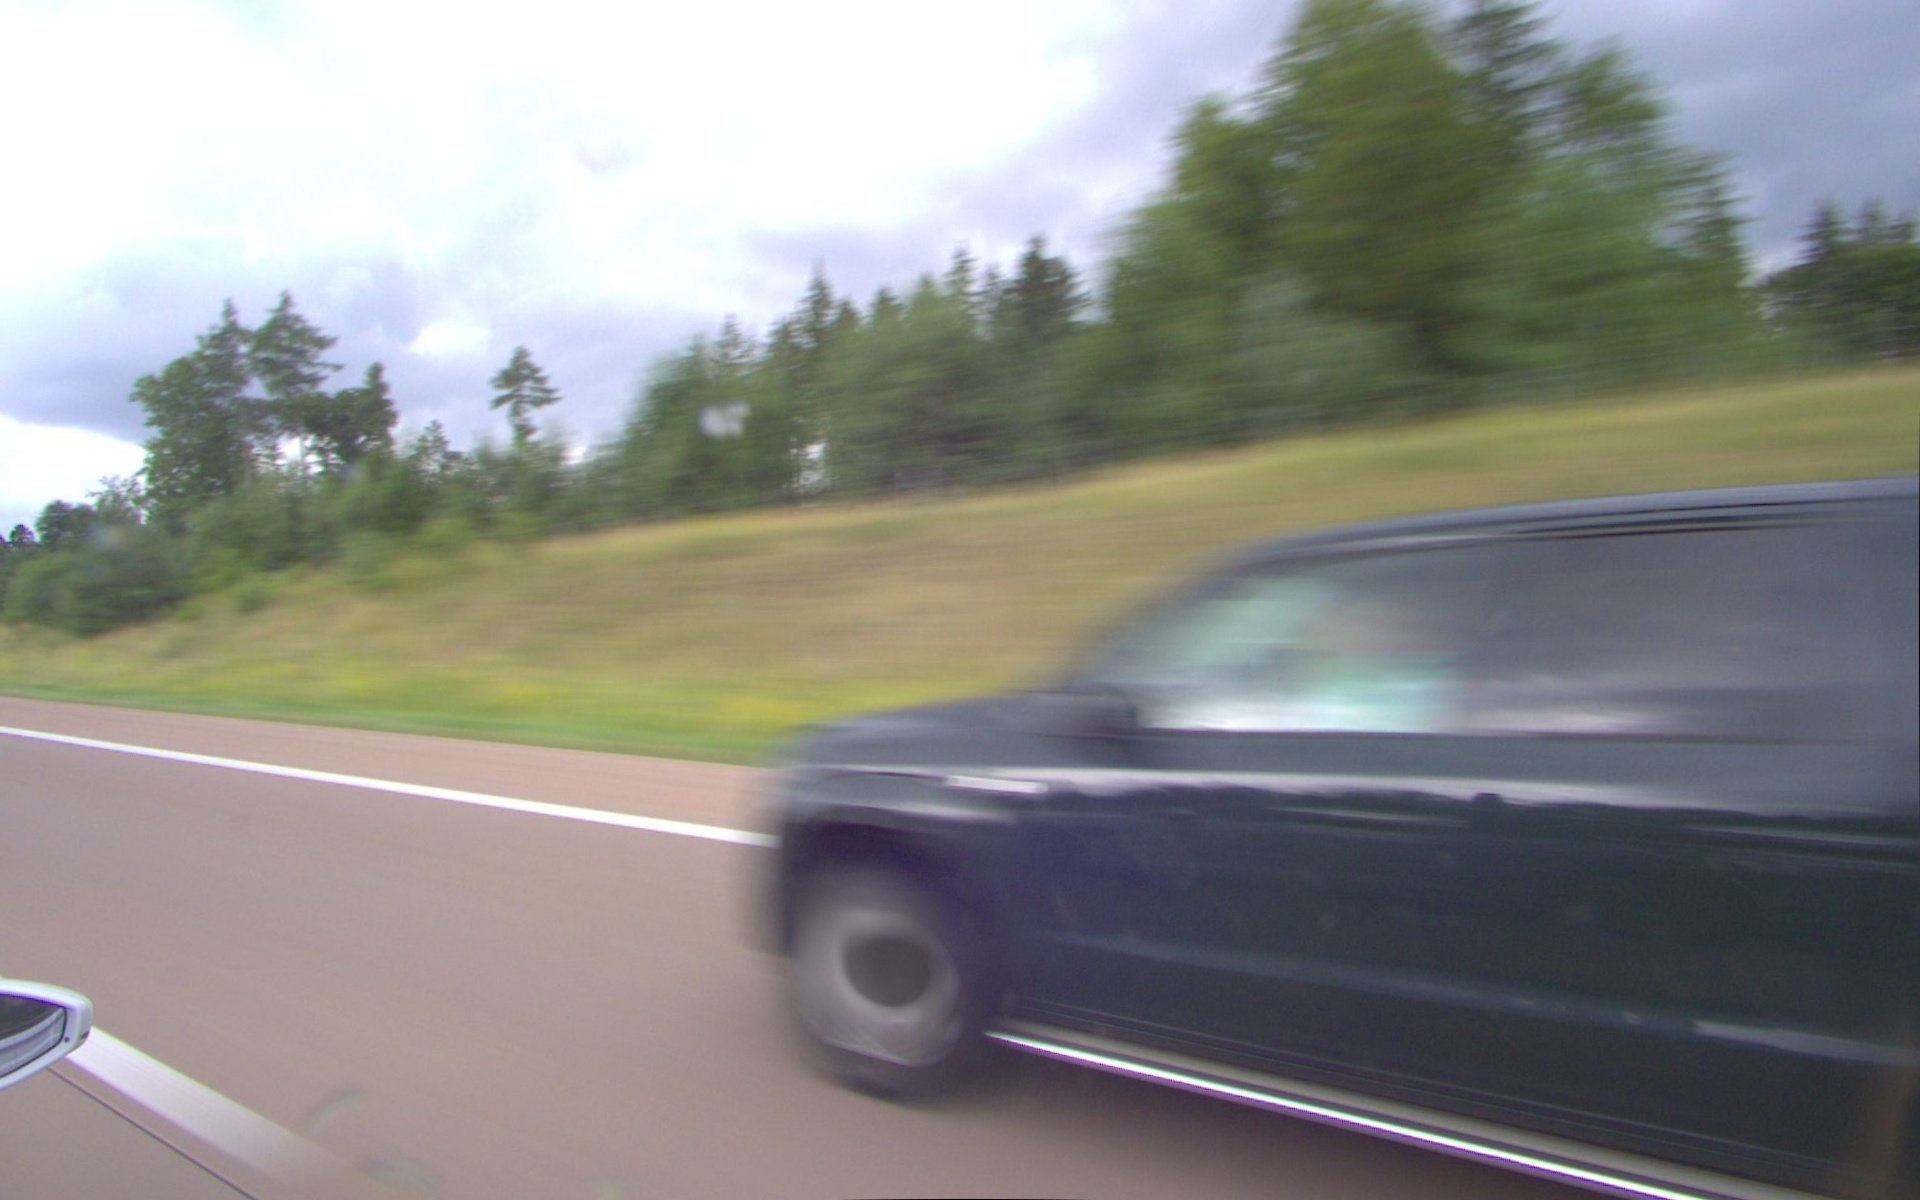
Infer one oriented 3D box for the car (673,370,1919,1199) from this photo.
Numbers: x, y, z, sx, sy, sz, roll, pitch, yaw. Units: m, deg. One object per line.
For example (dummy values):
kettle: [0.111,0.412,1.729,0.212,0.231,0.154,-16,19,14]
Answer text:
car: [1.838,0.571,2.952,5.498,1.921,2.040,-2,-1,33]
